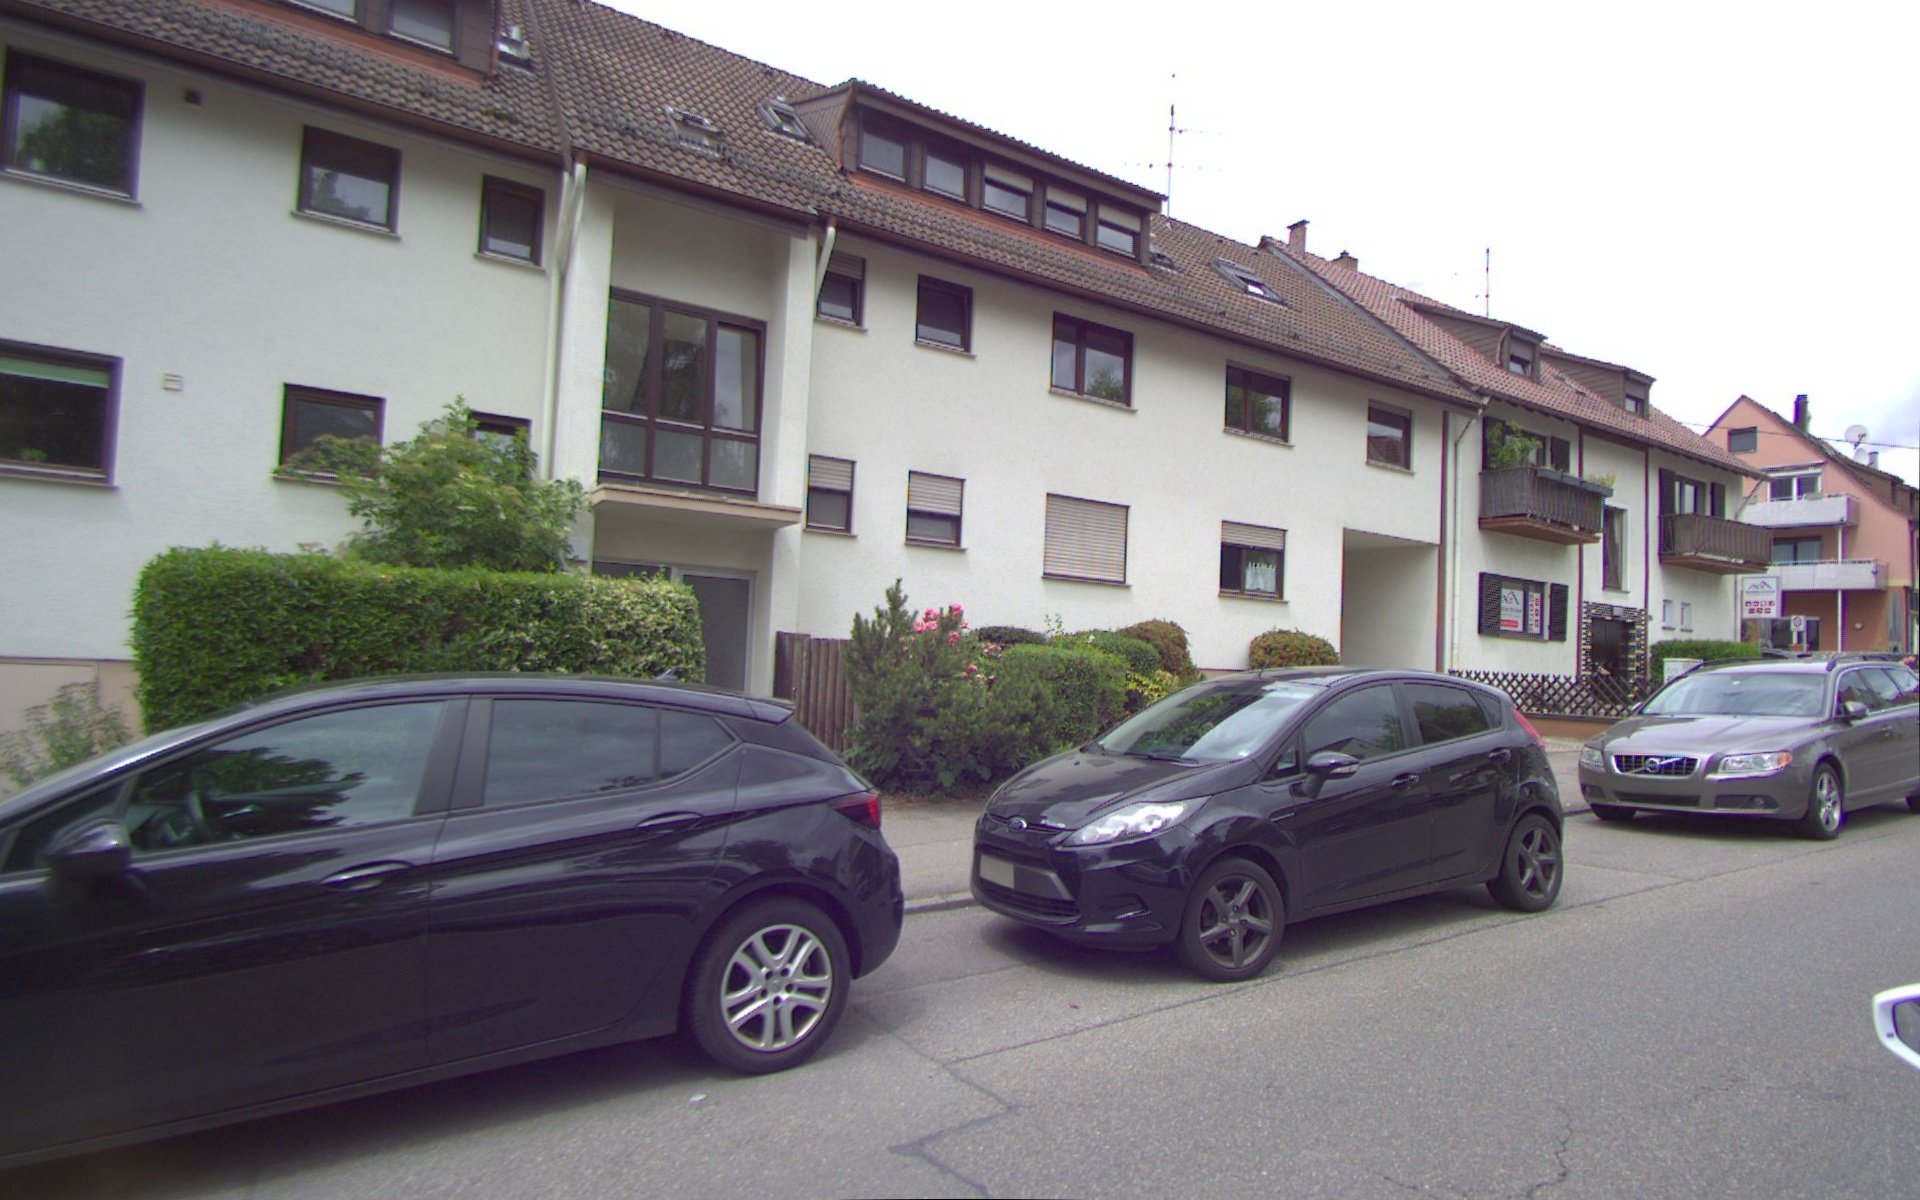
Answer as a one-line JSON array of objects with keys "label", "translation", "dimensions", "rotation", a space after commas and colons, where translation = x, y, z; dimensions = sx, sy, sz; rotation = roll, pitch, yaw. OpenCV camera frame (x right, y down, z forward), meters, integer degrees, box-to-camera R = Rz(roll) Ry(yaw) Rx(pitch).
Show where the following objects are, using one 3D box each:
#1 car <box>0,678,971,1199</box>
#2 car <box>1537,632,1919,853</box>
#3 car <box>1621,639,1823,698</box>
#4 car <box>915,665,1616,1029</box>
[{"label": "car", "translation": [-2.118, 1.064, 3.717], "dimensions": [4.033, 1.457, 1.753], "rotation": [2, -4, -33]}, {"label": "car", "translation": [7.887, 1.232, 9.819], "dimensions": [4.733, 1.702, 1.838], "rotation": [2, -5, -32]}, {"label": "car", "translation": [22.921, 2.000, 30.402], "dimensions": [1.977, 1.492, 4.495], "rotation": [1, -1, -31]}, {"label": "car", "translation": [1.918, 1.170, 6.014], "dimensions": [4.032, 1.456, 1.754], "rotation": [2, -6, -32]}]
